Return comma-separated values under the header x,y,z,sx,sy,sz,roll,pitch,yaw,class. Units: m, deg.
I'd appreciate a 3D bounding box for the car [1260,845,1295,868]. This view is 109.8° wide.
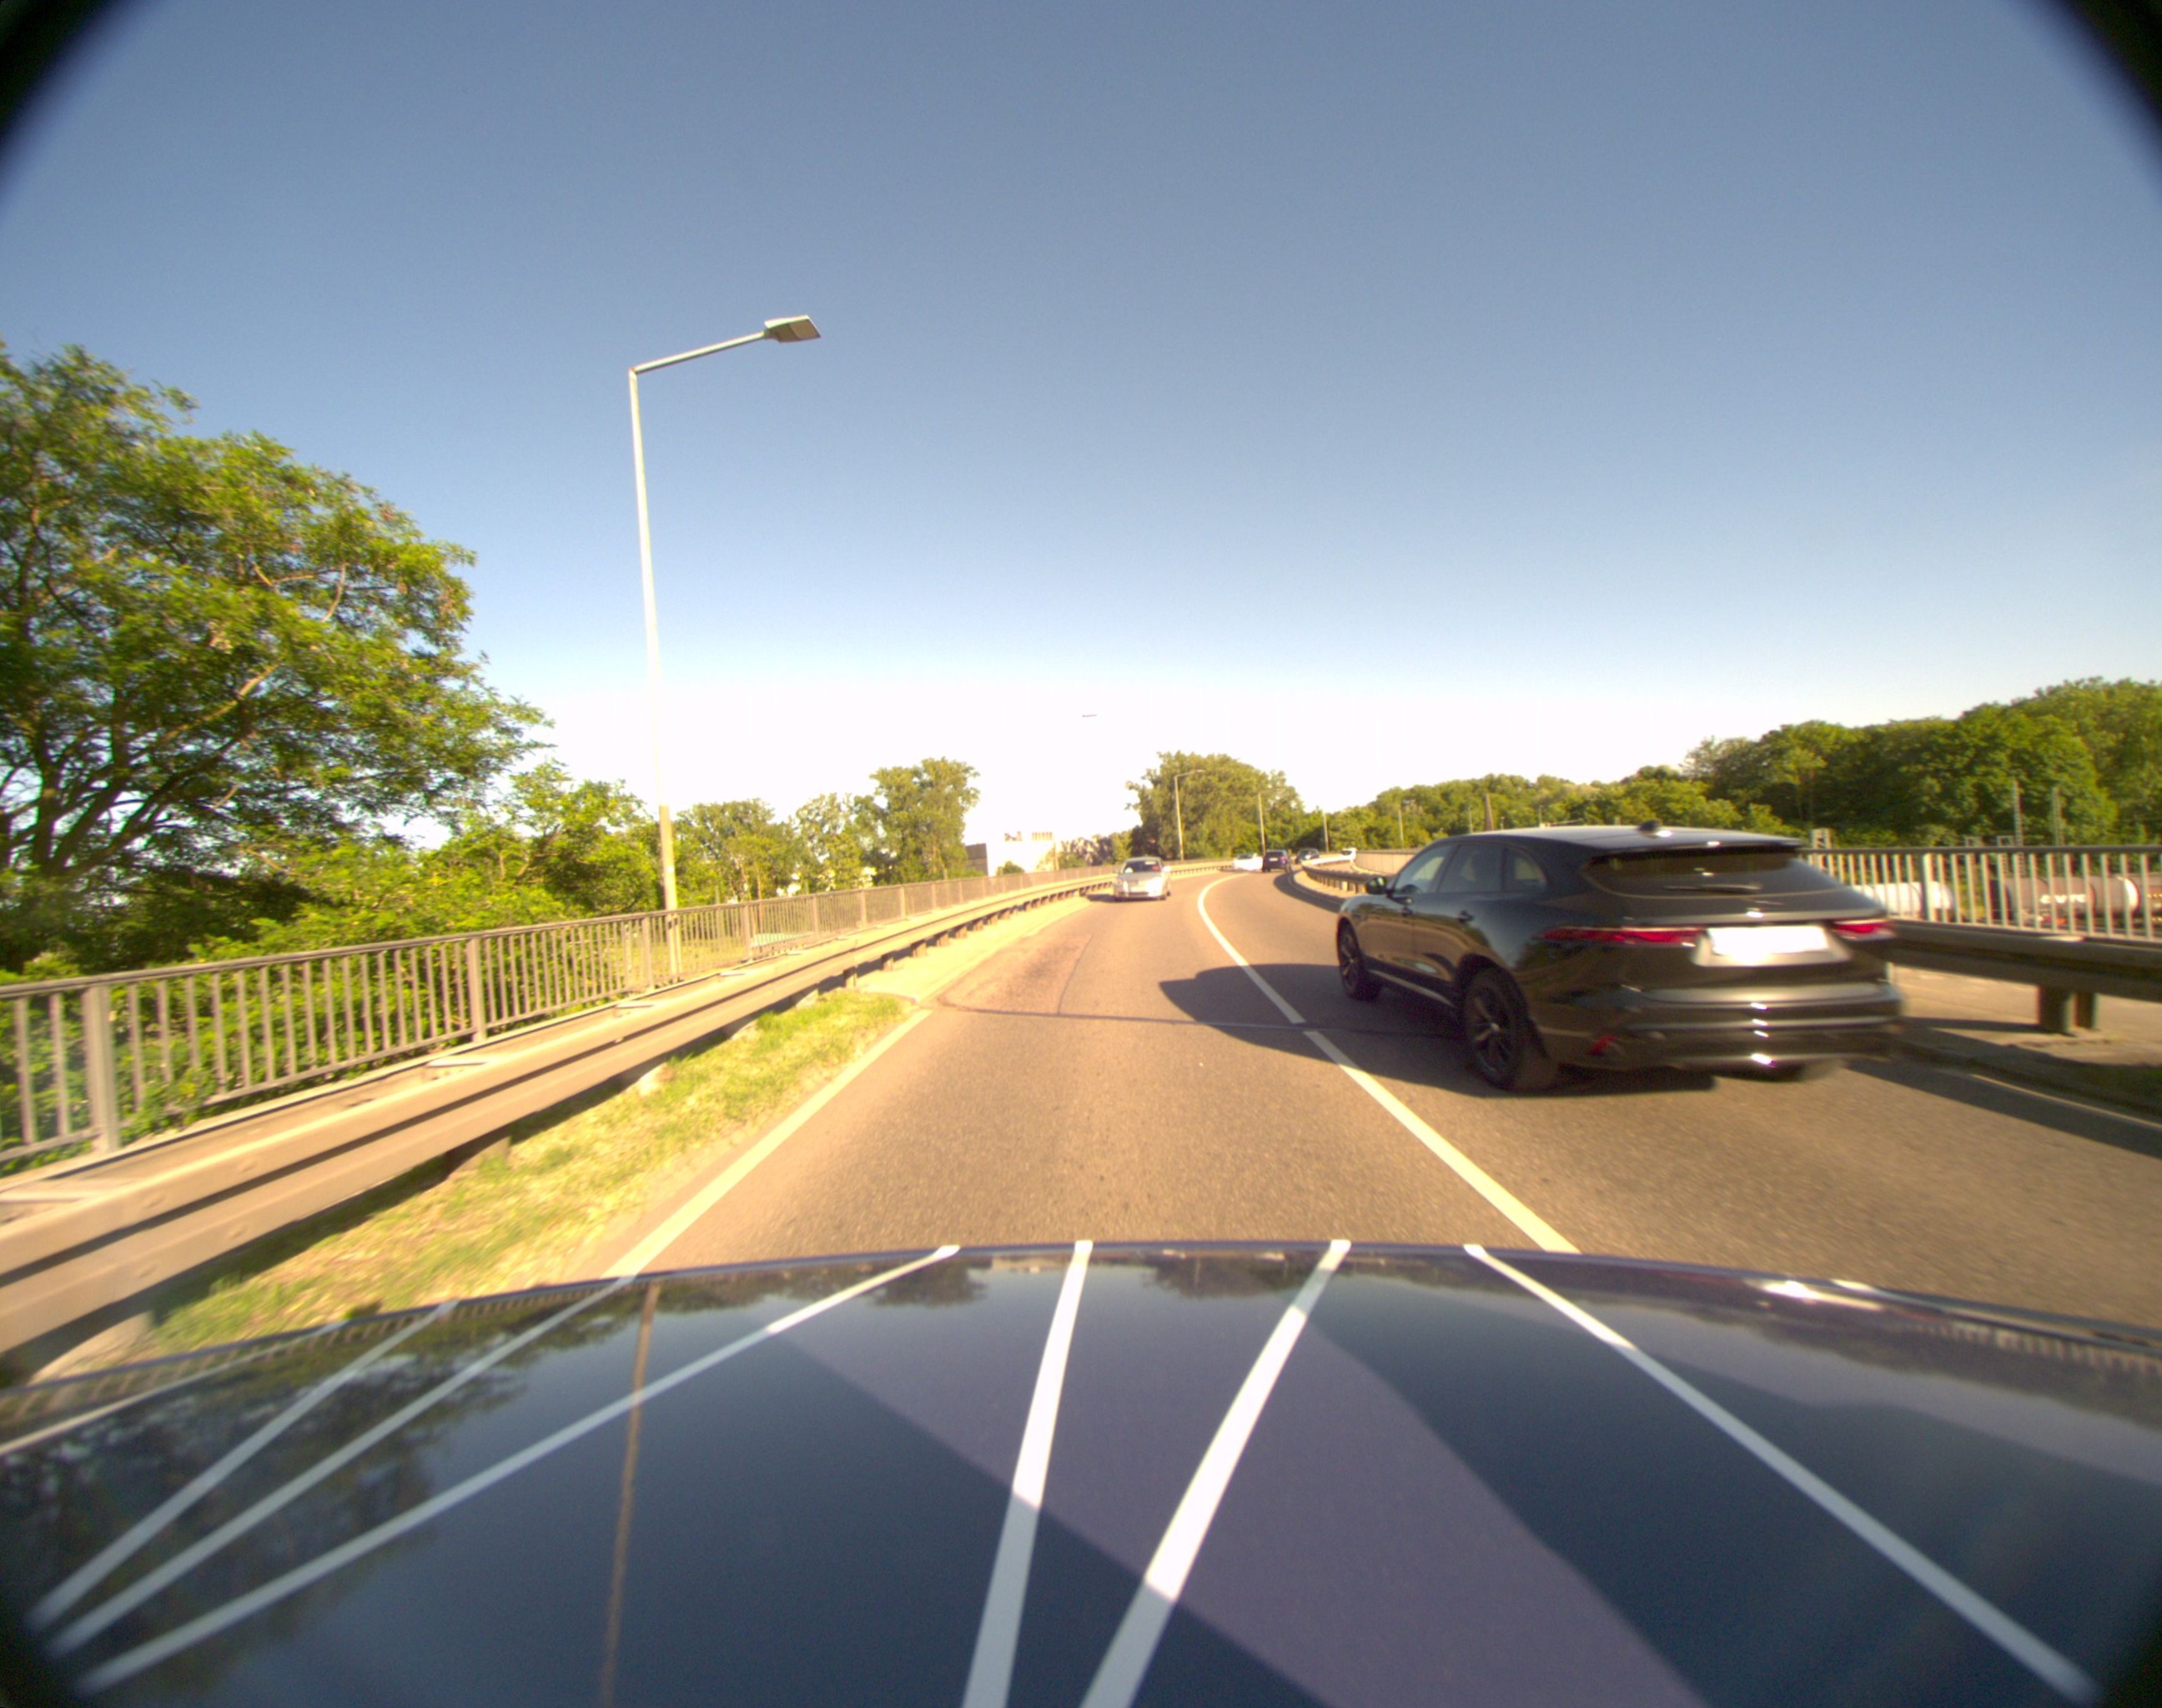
x,y,z,sx,sy,sz,roll,pitch,yaw,class
14.234,0.142,54.814,1.825,1.543,4.191,-2,0,22,car

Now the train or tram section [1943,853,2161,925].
x,y,z,sx,sy,sz,roll,pitch,yaw,class
70.997,2.355,51.585,16.274,4.564,3.912,-2,0,24,train or tram section

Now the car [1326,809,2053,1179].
x,y,z,sx,sy,sz,roll,pitch,yaw,class
3.505,0.644,5.712,1.903,1.633,4.464,-2,0,1,car

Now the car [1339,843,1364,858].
x,y,z,sx,sy,sz,roll,pitch,yaw,class
29.922,-0.397,84.044,1.838,1.510,3.777,-2,0,32,car

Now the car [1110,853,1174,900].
x,y,z,sx,sy,sz,roll,pitch,yaw,class
2.197,0.731,26.470,1.763,1.428,4.333,-2,0,10,car

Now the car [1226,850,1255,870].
x,y,z,sx,sy,sz,roll,pitch,yaw,class
12.919,0.431,61.467,1.991,1.465,4.134,-2,0,15,car

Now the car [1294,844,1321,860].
x,y,z,sx,sy,sz,roll,pitch,yaw,class
24.648,-0.247,82.619,1.918,1.608,3.749,-2,0,32,car

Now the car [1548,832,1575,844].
x,y,z,sx,sy,sz,roll,pitch,yaw,class
110.472,-3.600,174.698,2.114,2.483,5.706,-2,-2,-4,car
